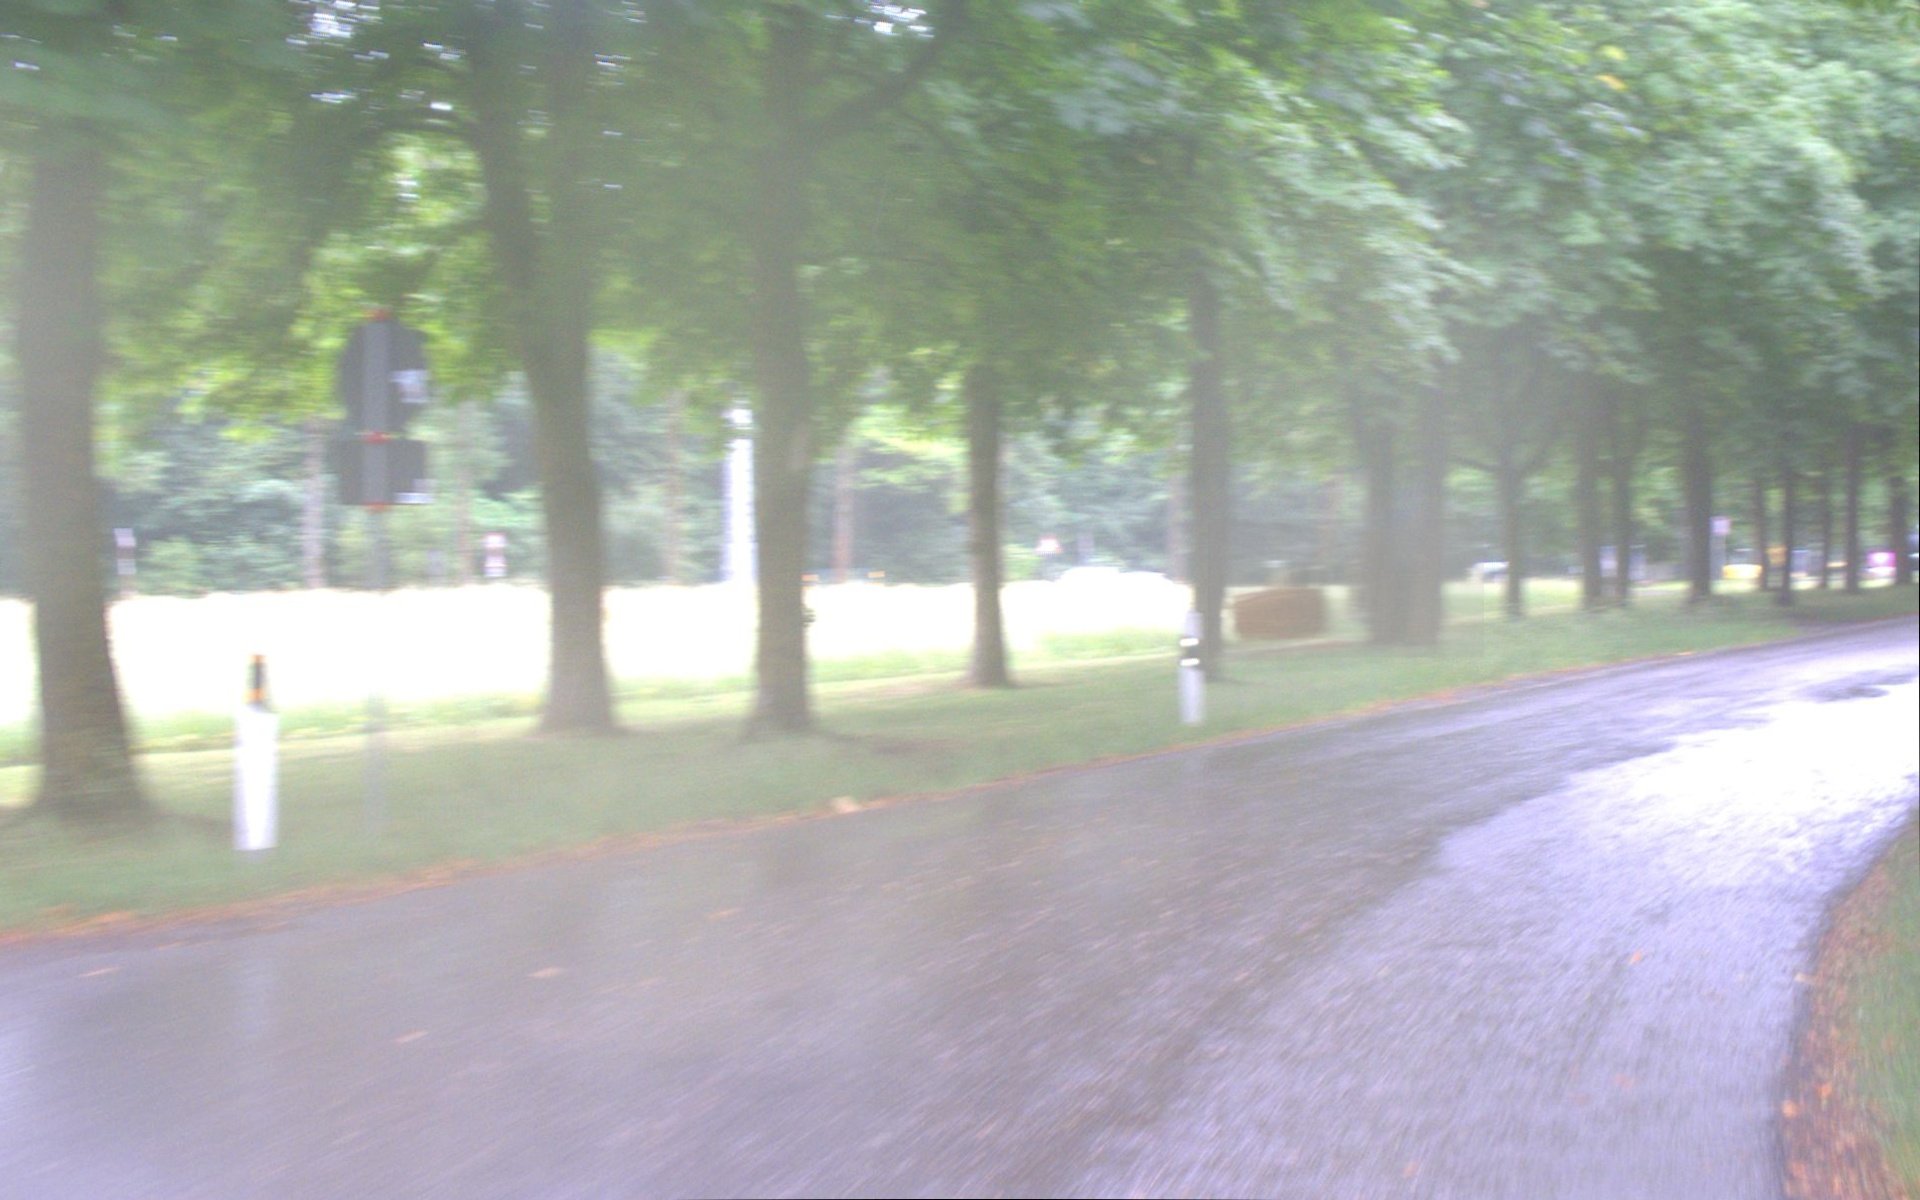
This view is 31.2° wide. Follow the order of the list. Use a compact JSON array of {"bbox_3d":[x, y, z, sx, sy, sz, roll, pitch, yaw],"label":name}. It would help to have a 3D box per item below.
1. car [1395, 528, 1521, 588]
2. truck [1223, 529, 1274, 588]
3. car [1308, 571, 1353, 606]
[{"bbox_3d":[21.323,-1.777,147.434,2.384,2.399,5.984,1,-1,-26],"label":"car"},{"bbox_3d":[12.205,-1.728,145.228,1.870,2.434,3.348,-1,0,8],"label":"truck"},{"bbox_3d":[15.668,-0.484,145.557,1.763,1.424,4.106,-1,0,4],"label":"car"}]
